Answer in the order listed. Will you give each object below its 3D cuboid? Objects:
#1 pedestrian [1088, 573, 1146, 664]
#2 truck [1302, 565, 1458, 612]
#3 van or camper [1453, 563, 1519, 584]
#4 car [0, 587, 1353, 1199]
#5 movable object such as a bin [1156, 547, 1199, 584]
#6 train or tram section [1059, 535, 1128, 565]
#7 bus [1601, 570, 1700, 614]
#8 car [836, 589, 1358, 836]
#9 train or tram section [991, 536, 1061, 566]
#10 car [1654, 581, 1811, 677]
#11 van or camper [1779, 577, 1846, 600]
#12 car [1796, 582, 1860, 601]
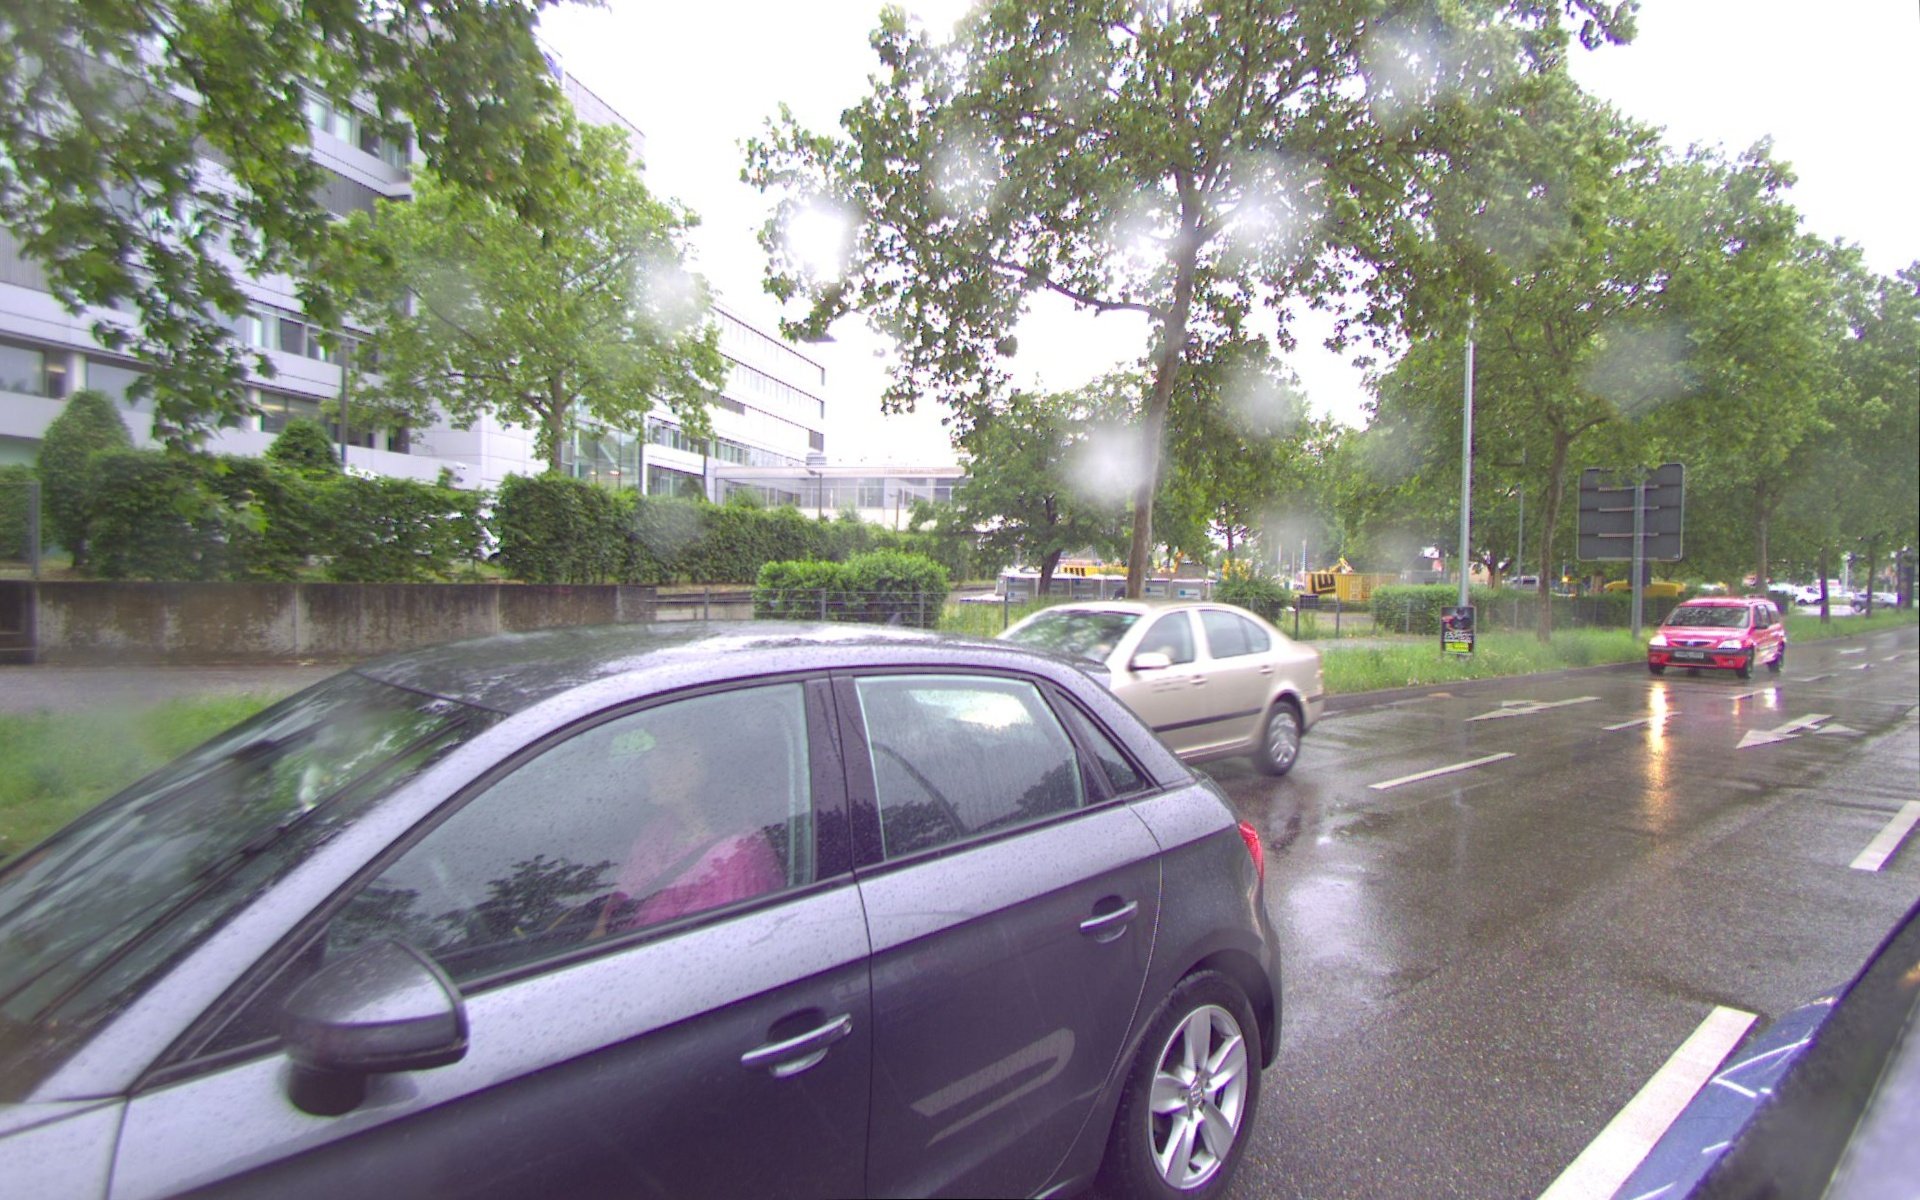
[{"bbox_3d":[3.184,0.358,20.514,0.664,1.784,1.059,1,1,43],"label":"pedestrian"},{"bbox_3d":[28.306,-0.784,68.758,9.359,3.069,3.070,0,1,14],"label":"truck"},{"bbox_3d":[84.308,-4.199,162.373,8.846,3.196,2.976,0,1,14],"label":"van or camper"},{"bbox_3d":[-1.020,0.711,2.207,3.932,1.470,1.996,-1,1,-43],"label":"car"},{"bbox_3d":[22.401,-3.572,104.411,3.253,3.670,3.618,1,2,-6],"label":"movable object such as a bin"},{"bbox_3d":[16.384,-6.103,123.749,8.238,3.563,2.393,0,1,11],"label":"train or tram section"},{"bbox_3d":[43.755,-0.546,64.228,1.964,2.680,4.803,0,1,-39],"label":"bus"},{"bbox_3d":[1.296,0.655,8.200,4.310,1.448,1.806,-1,2,-41],"label":"car"},{"bbox_3d":[8.167,-6.013,125.393,8.396,3.563,2.393,0,1,11],"label":"train or tram section"},{"bbox_3d":[16.276,0.517,21.237,4.478,1.791,1.699,0,2,-41],"label":"car"},{"bbox_3d":[86.795,-1.179,103.056,4.830,2.114,1.863,2,2,11],"label":"van or camper"},{"bbox_3d":[85.753,-0.838,100.059,4.391,1.693,1.863,2,2,11],"label":"car"}]
